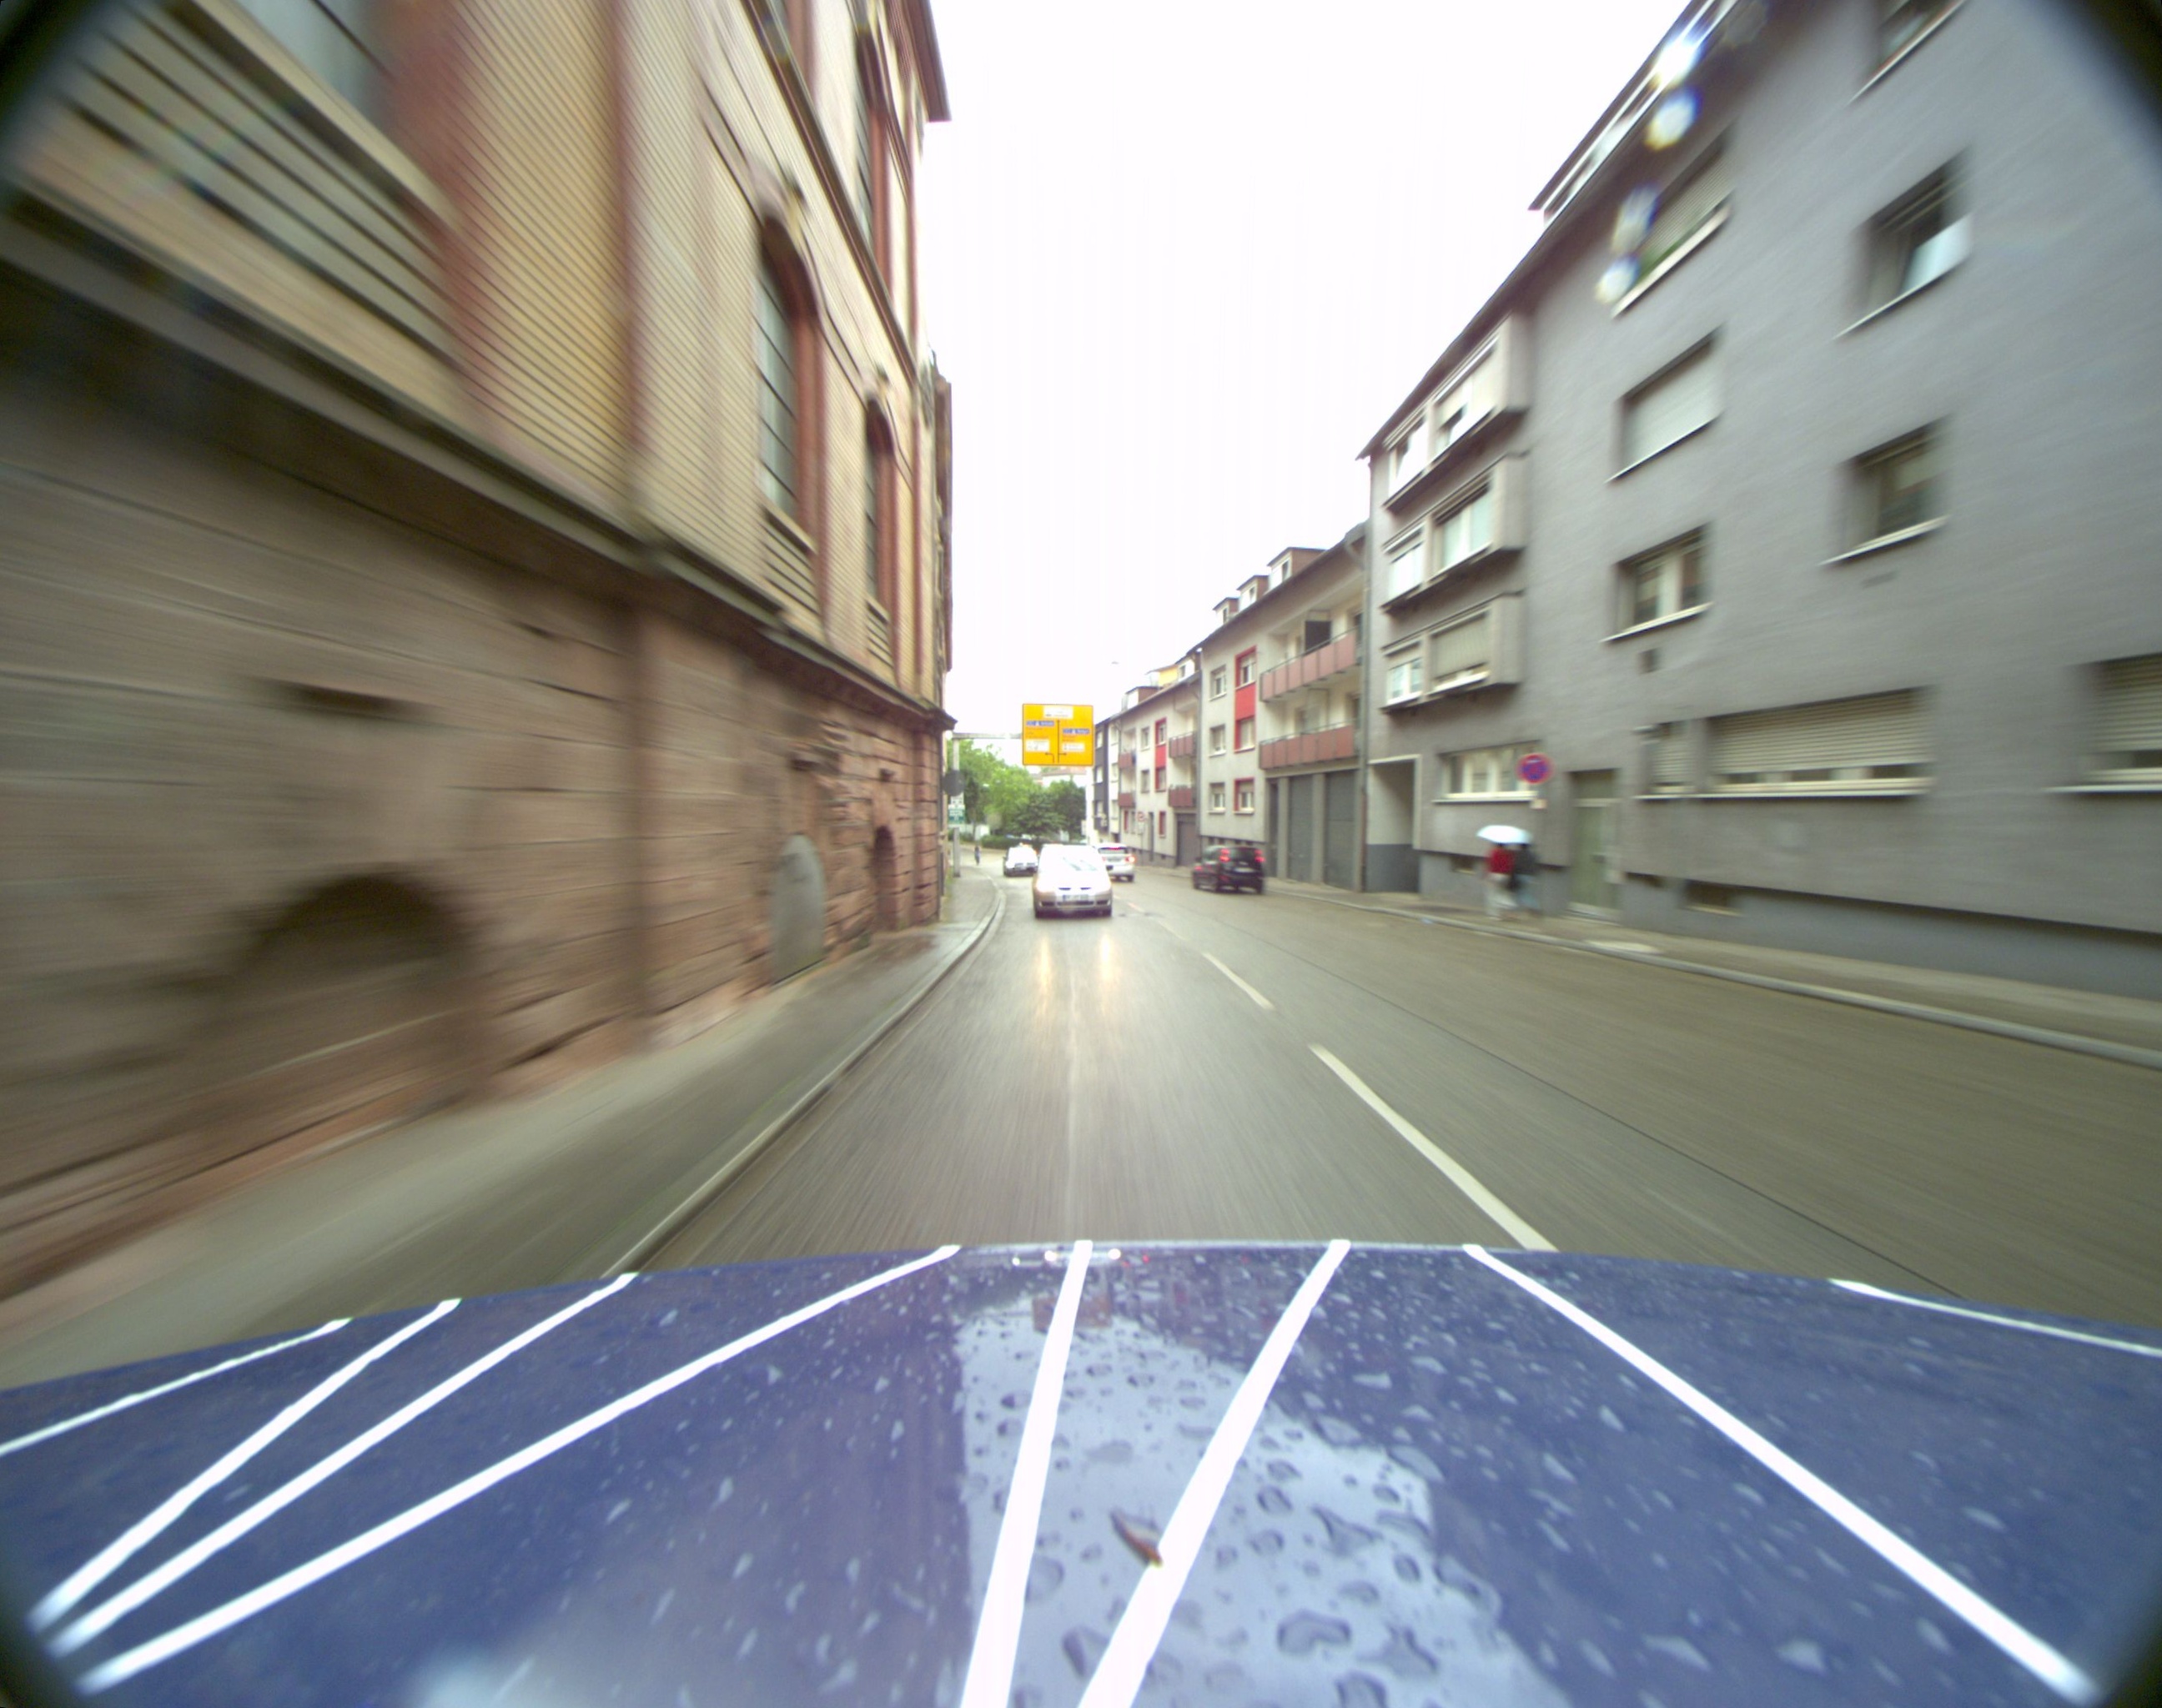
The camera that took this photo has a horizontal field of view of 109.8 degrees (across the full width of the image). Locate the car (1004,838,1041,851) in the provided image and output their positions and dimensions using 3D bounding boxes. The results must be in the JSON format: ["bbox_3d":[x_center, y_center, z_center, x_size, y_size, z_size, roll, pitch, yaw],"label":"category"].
[{"bbox_3d":[-6.890,-1.096,89.198,4.007,1.502,1.795,-2,1,-38],"label":"car"}]

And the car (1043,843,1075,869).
[{"bbox_3d":[-1.457,0.078,49.150,1.770,1.568,3.761,0,1,-7],"label":"car"}]

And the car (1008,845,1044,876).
[{"bbox_3d":[-2.875,0.316,39.406,1.687,1.419,3.836,-3,1,-6],"label":"car"}]

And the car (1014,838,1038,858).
[{"bbox_3d":[-4.723,-0.554,65.191,1.770,1.648,3.983,0,1,-8],"label":"car"}]

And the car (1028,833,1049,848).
[{"bbox_3d":[-6.006,-1.939,107.598,1.639,1.949,4.202,2,2,-22],"label":"car"}]

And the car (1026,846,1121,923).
[{"bbox_3d":[-0.291,0.607,17.448,1.687,1.496,3.836,-3,1,-7],"label":"car"}]

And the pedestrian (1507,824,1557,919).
[{"bbox_3d":[8.554,0.316,14.426,0.524,1.766,0.622,0,1,-3],"label":"pedestrian"}]

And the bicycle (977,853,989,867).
[{"bbox_3d":[-8.996,0.531,69.401,0.889,1.181,2.130,-2,2,-12],"label":"bicycle"}]

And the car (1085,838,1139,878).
[{"bbox_3d":[1.254,0.122,32.495,1.769,1.568,4.033,0,1,-6],"label":"car"}]

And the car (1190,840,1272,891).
[{"bbox_3d":[4.785,0.328,24.696,1.649,1.488,3.374,2,1,-6],"label":"car"}]

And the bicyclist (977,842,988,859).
[{"bbox_3d":[-9.046,-0.348,69.532,0.889,1.481,0.967,-2,3,-12],"label":"bicyclist"}]

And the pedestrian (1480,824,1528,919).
[{"bbox_3d":[8.012,0.318,14.419,0.524,1.766,0.622,0,1,-3],"label":"pedestrian"}]
